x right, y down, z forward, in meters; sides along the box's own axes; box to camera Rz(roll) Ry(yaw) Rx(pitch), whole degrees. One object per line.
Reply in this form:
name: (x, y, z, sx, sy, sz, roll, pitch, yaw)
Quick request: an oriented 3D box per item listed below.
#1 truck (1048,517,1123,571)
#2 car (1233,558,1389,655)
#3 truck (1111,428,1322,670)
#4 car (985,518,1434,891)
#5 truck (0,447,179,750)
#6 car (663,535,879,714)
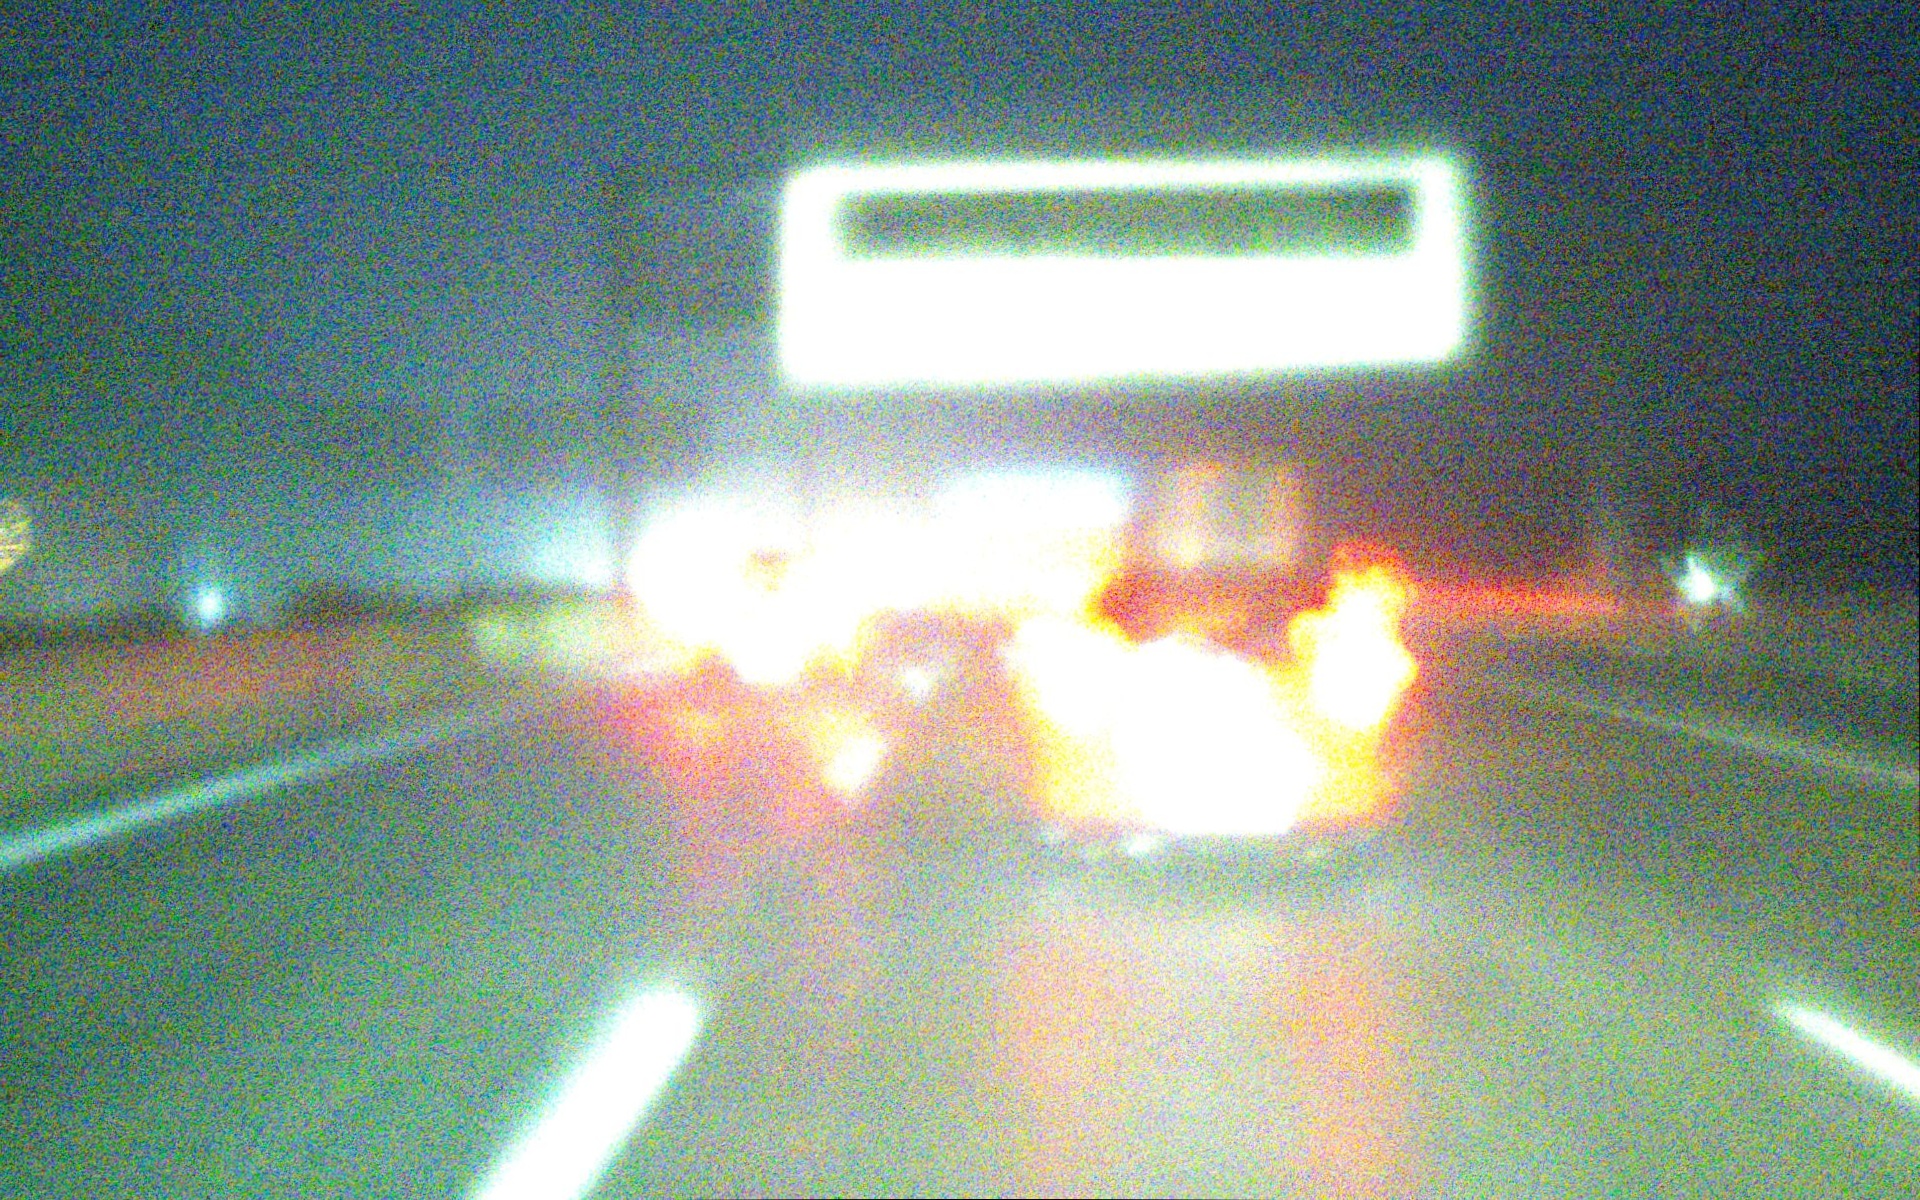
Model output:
truck: (7.401, -3.330, 204.423, 3.835, 3.044, 11.006, 1, 1, -1)
car: (5.326, 0.075, 52.546, 1.889, 1.349, 4.000, 1, 1, -1)
truck: (6.304, -1.263, 87.199, 4.167, 5.525, 13.075, -2, 1, 0)
car: (1.124, 0.444, 17.409, 1.916, 1.589, 4.233, -2, 1, 0)
truck: (-19.182, -0.181, 68.993, 3.842, 5.525, 12.210, 1, 1, 2)
car: (-2.004, 0.229, 37.875, 1.993, 1.771, 4.887, -2, 1, 1)
